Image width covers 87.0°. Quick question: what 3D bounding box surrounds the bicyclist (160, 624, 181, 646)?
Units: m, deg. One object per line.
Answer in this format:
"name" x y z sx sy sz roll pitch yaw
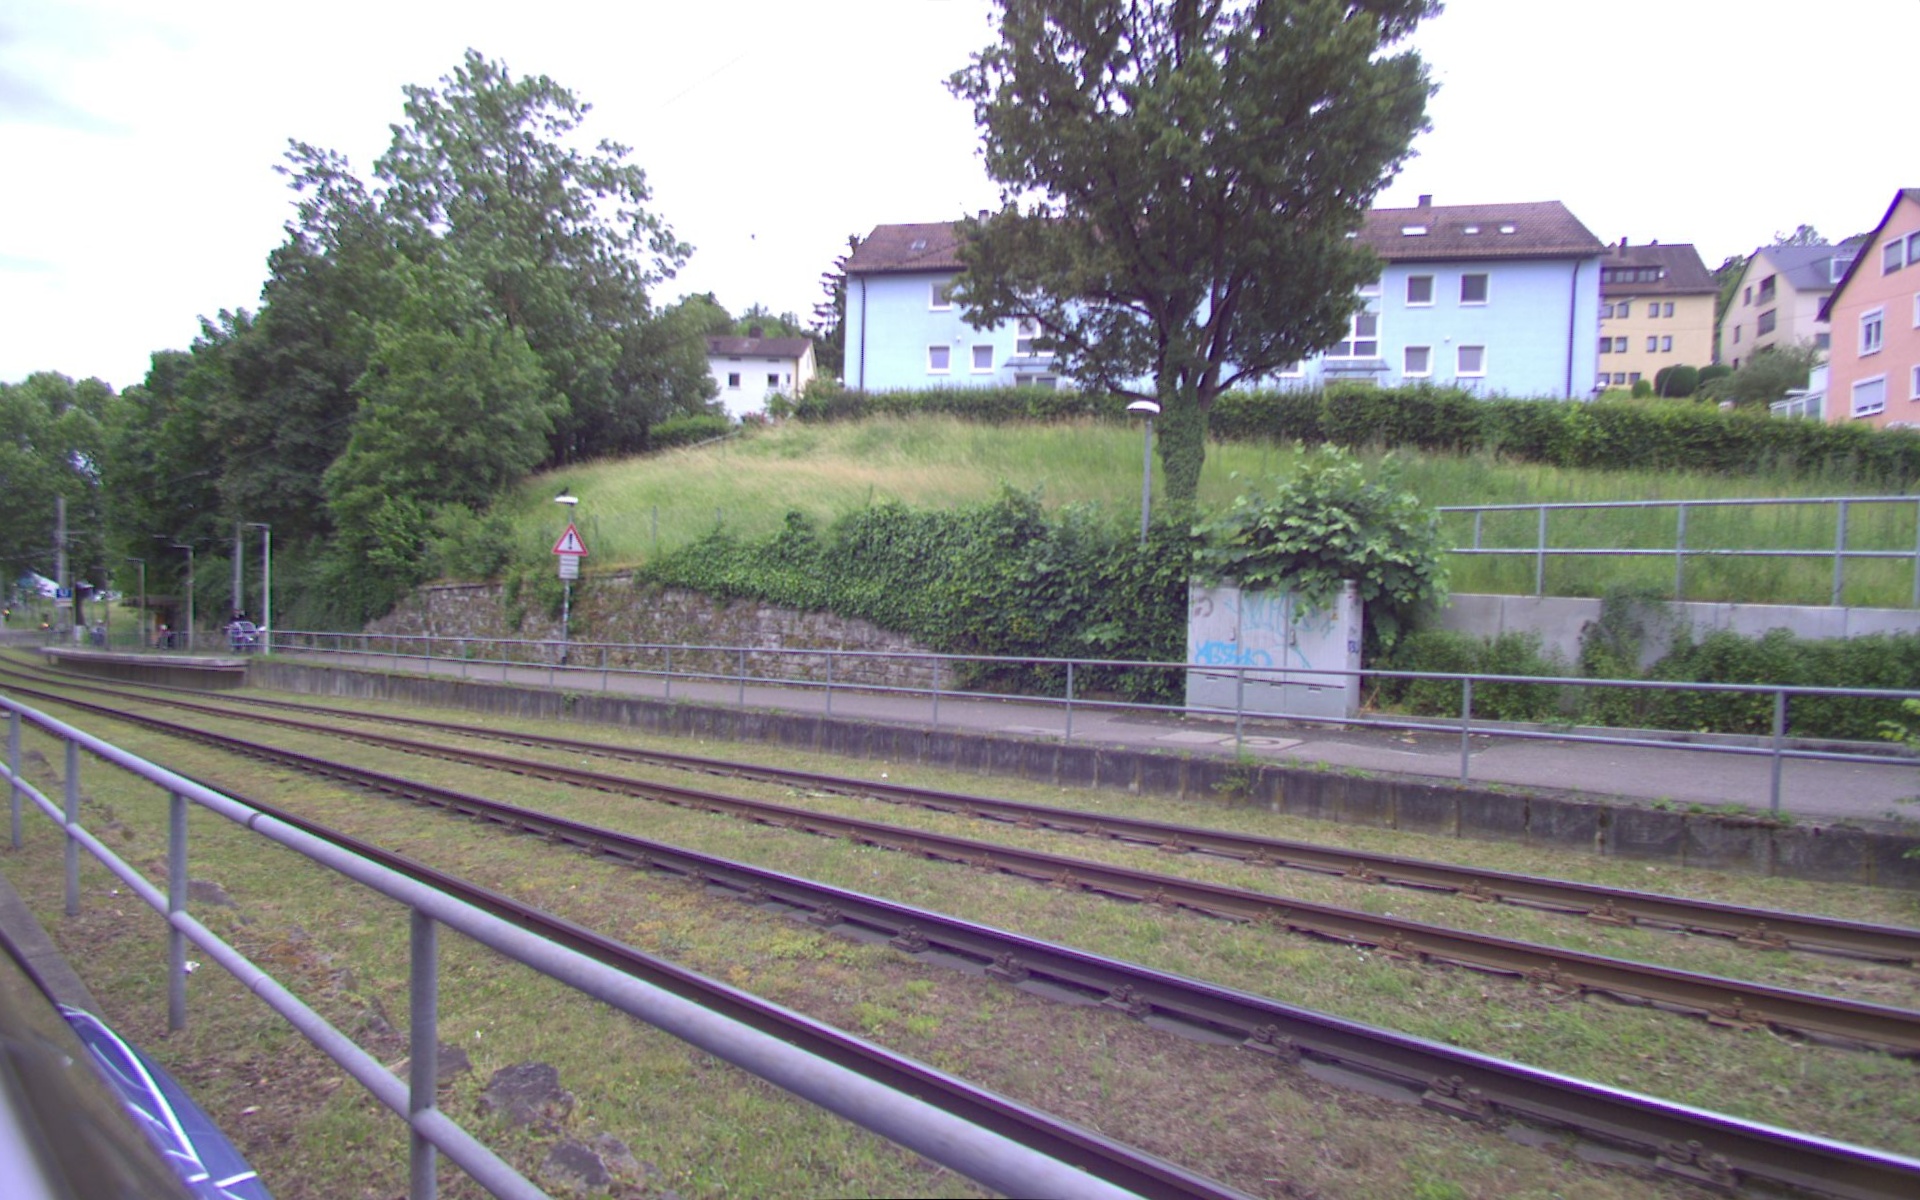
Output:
"bicyclist" -38.932 1.744 49.899 0.744 1.061 0.682 -2 -1 41

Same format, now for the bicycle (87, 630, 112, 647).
"bicycle" -48.769 2.170 57.336 1.836 0.932 0.474 -3 -2 29

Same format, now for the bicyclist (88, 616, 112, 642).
"bicyclist" -48.688 1.654 57.283 0.903 1.442 0.740 -3 -2 28

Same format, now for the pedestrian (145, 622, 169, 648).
"pedestrian" -43.022 1.853 54.236 0.772 1.333 0.813 0 0 35

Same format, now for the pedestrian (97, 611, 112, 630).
"pedestrian" -82.990 1.985 98.140 1.101 1.747 0.695 0 0 -43

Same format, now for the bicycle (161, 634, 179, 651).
"bicycle" -38.866 2.095 49.767 1.564 0.787 0.445 -2 -1 42

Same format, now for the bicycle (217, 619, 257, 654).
"bicycle" -27.079 1.365 37.876 0.742 1.249 2.868 -1 -1 -45

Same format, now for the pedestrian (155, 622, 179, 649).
"pedestrian" -41.999 1.877 53.615 0.772 1.385 0.813 0 0 35

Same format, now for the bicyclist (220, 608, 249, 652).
"bicyclist" -27.436 1.136 38.247 1.033 1.641 0.696 -2 -1 45
